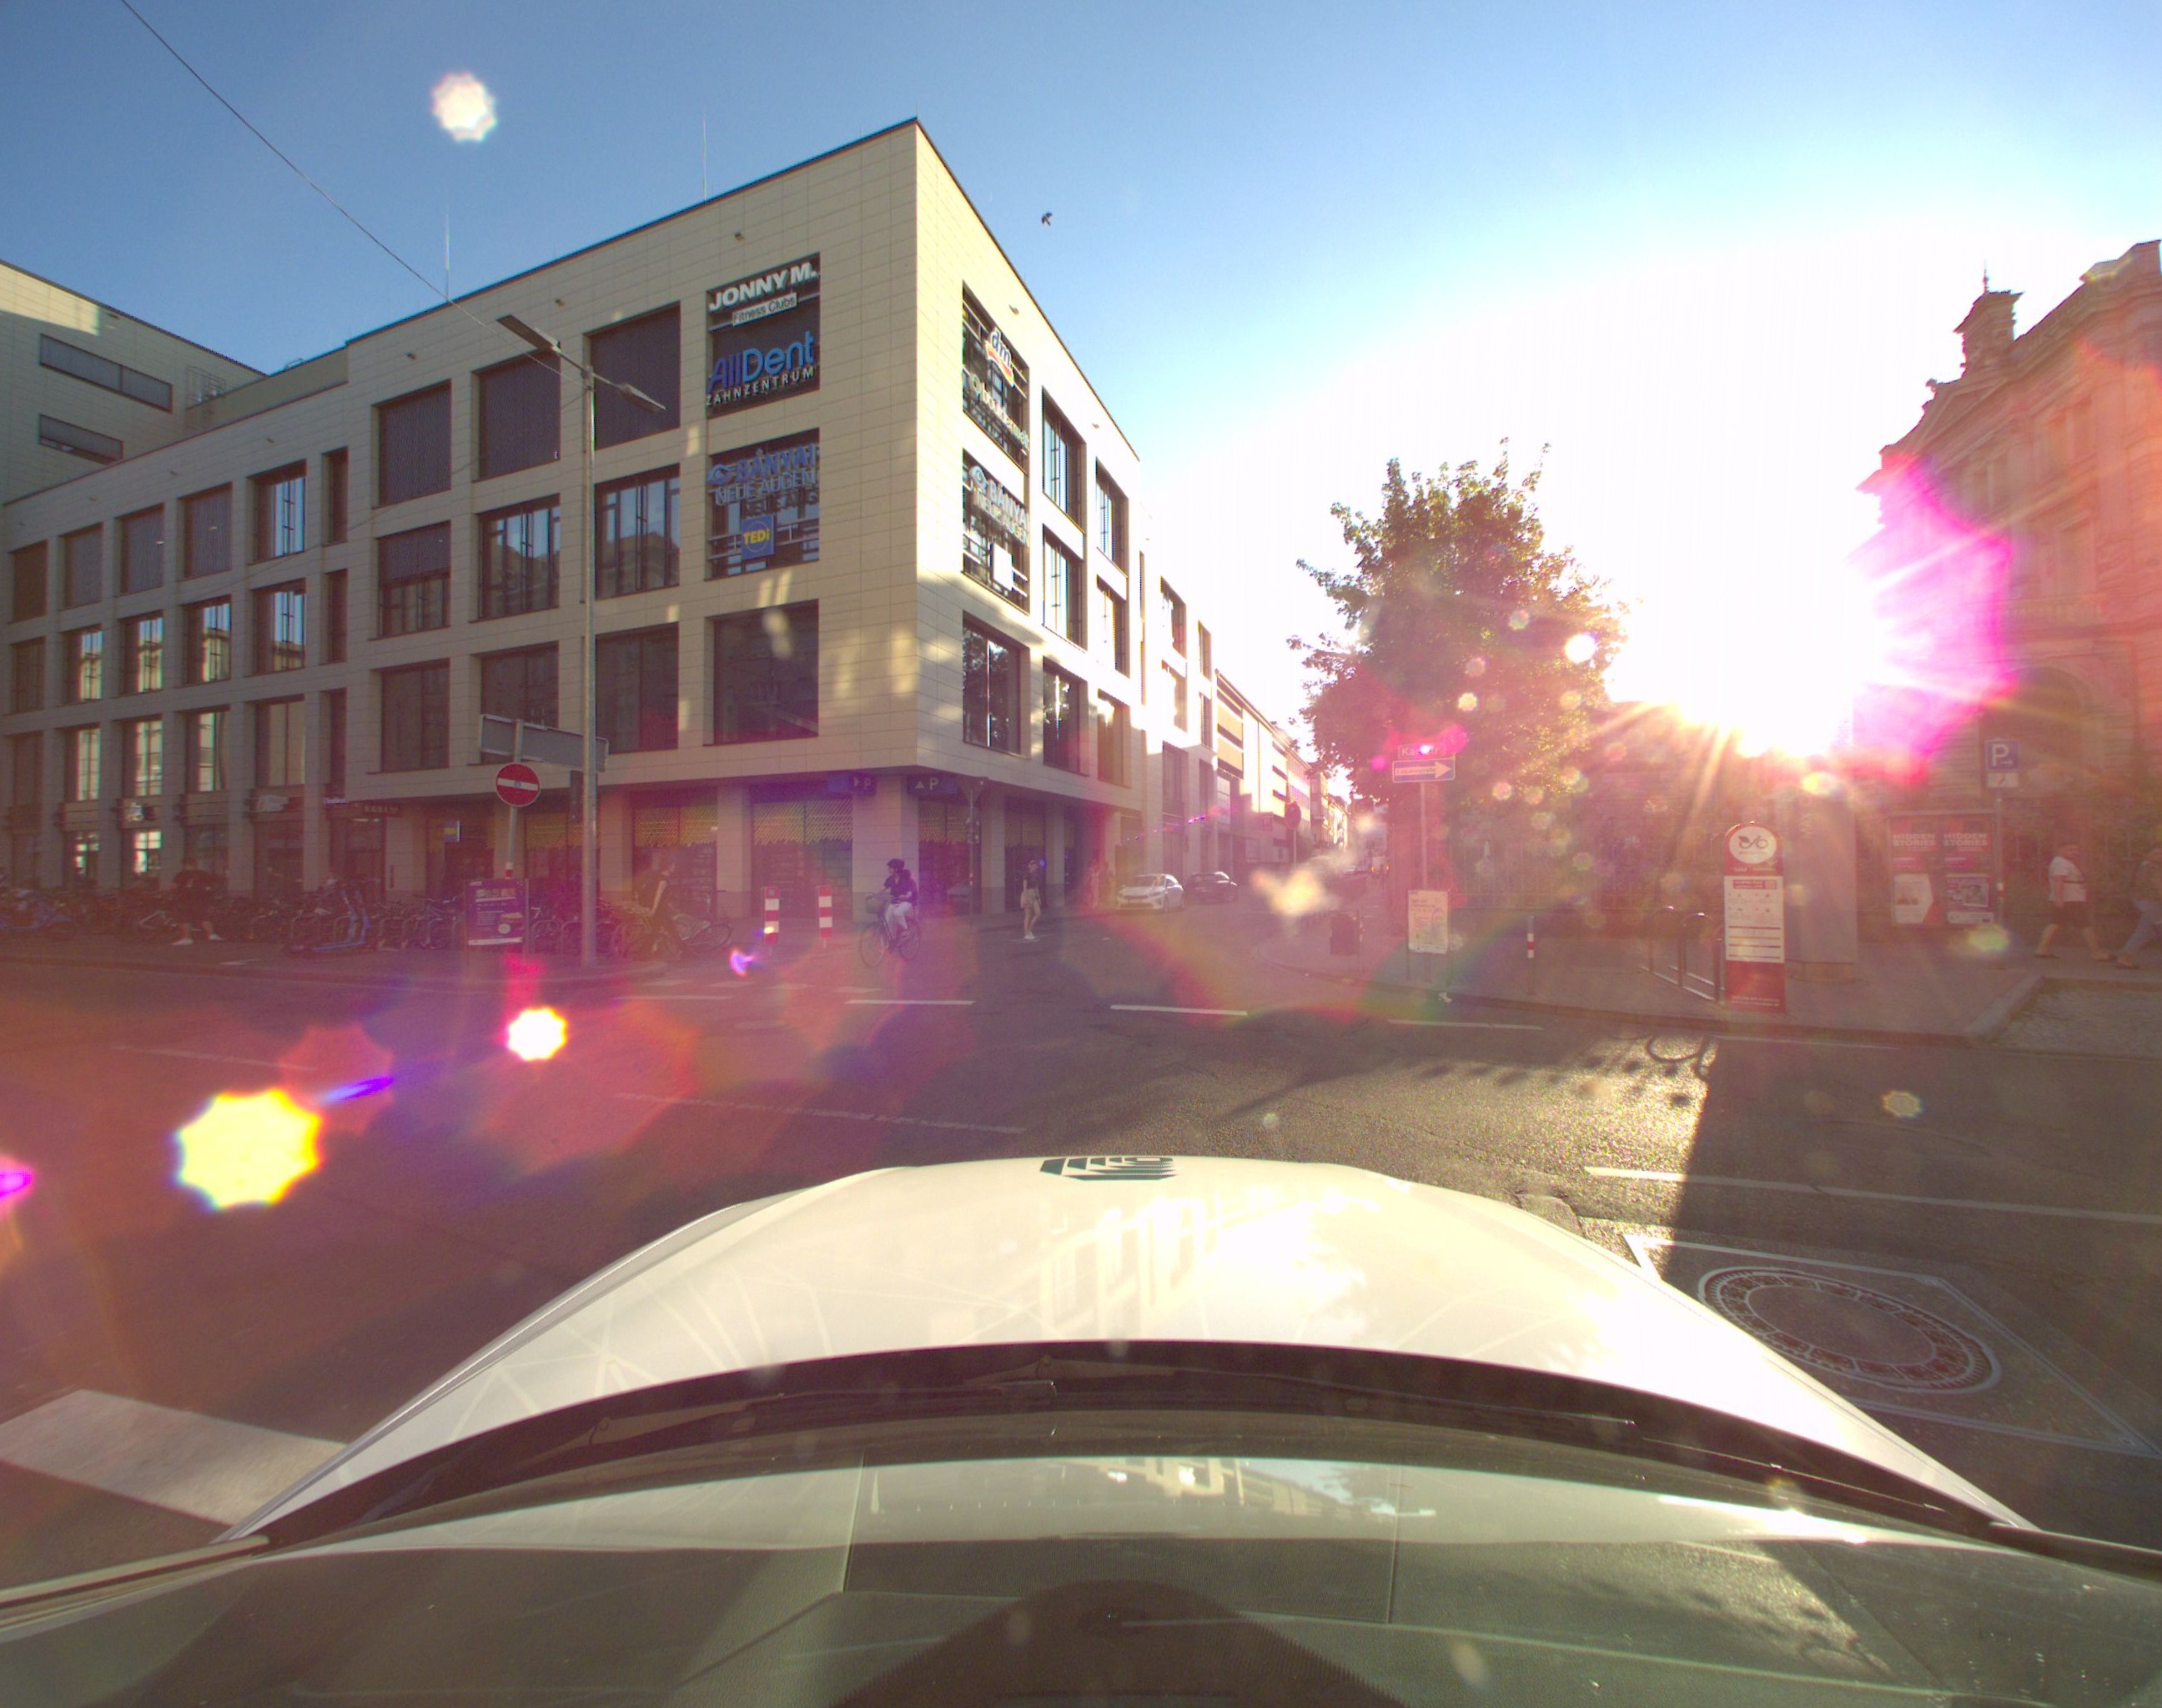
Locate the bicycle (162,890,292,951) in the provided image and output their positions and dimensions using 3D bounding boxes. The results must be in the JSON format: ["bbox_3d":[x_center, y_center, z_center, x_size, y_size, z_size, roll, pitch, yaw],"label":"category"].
[{"bbox_3d":[-19.383,1.477,18.550,0.507,1.255,1.988,-1,-2,20],"label":"bicycle"}]

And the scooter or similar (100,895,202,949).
[{"bbox_3d":[-18.610,1.346,16.324,0.383,0.992,1.277,-1,-2,20],"label":"scooter or similar"}]

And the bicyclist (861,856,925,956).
[{"bbox_3d":[-3.063,0.828,13.296,0.653,1.571,0.867,-1,-2,18],"label":"bicyclist"}]

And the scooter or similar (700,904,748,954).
[{"bbox_3d":[-6.645,1.385,15.186,0.383,0.884,0.774,-1,-2,20],"label":"scooter or similar"}]

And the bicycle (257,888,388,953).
[{"bbox_3d":[-16.041,1.374,17.302,0.507,1.255,1.988,-1,-2,20],"label":"bicycle"}]

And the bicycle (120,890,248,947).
[{"bbox_3d":[-21.457,1.509,19.545,0.507,1.255,1.988,-1,-2,20],"label":"bicycle"}]

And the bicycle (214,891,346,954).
[{"bbox_3d":[-17.316,1.449,17.686,0.507,1.255,1.988,-1,-2,20],"label":"bicycle"}]

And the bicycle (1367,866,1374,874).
[{"bbox_3d":[46.813,2.576,131.786,0.967,1.280,2.768,-1,-2,22],"label":"bicycle"}]

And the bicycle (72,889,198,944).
[{"bbox_3d":[-23.629,1.530,20.402,0.507,1.255,1.988,-1,-2,20],"label":"bicycle"}]

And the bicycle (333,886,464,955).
[{"bbox_3d":[-13.548,1.282,16.241,0.507,1.255,1.988,-1,-2,20],"label":"bicycle"}]

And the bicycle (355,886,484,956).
[{"bbox_3d":[-12.957,1.275,16.036,0.507,1.255,1.988,-1,-2,18],"label":"bicycle"}]

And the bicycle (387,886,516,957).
[{"bbox_3d":[-12.159,1.261,15.810,0.507,1.255,1.988,-1,-2,20],"label":"bicycle"}]

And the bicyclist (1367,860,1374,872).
[{"bbox_3d":[46.786,1.995,131.746,0.981,1.869,0.712,-1,-2,23],"label":"bicyclist"}]

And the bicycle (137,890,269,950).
[{"bbox_3d":[-20.109,1.484,18.718,0.507,1.255,1.988,-1,-2,20],"label":"bicycle"}]

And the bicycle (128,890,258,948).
[{"bbox_3d":[-20.776,1.496,19.126,0.507,1.255,1.988,-1,-2,20],"label":"bicycle"}]

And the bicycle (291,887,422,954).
[{"bbox_3d":[-14.827,1.326,16.744,0.507,1.255,1.988,-1,-2,20],"label":"bicycle"}]

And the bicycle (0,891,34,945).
[{"bbox_3d":[-26.096,1.511,19.552,1.956,1.255,0.516,-1,-2,18],"label":"bicycle"}]

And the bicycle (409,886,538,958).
[{"bbox_3d":[-11.478,1.245,15.473,0.507,1.255,1.988,-1,-2,20],"label":"bicycle"}]

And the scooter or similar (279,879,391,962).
[{"bbox_3d":[-12.041,1.048,13.188,0.383,1.260,1.277,-1,-2,20],"label":"scooter or similar"}]

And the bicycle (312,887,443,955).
[{"bbox_3d":[-14.248,1.320,16.578,0.507,1.255,1.988,-1,-2,20],"label":"bicycle"}]

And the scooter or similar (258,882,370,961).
[{"bbox_3d":[-12.582,1.078,13.393,0.383,1.212,1.277,-1,-2,20],"label":"scooter or similar"}]

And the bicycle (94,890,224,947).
[{"bbox_3d":[-22.178,1.514,19.651,0.507,1.255,1.988,-1,-2,20],"label":"bicycle"}]

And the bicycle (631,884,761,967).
[{"bbox_3d":[-6.356,1.140,13.616,0.658,1.255,2.150,-1,-2,18],"label":"bicycle"}]

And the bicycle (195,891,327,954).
[{"bbox_3d":[-17.917,1.455,17.860,0.507,1.255,1.988,-1,-2,20],"label":"bicycle"}]

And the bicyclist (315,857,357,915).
[{"bbox_3d":[-22.140,0.934,24.203,0.637,1.695,0.688,-1,-1,22],"label":"bicyclist"}]

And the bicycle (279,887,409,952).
[{"bbox_3d":[-15.399,1.337,17.091,0.507,1.255,1.988,-1,-2,20],"label":"bicycle"}]

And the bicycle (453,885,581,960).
[{"bbox_3d":[-10.304,1.205,14.978,0.507,1.255,1.988,-1,-2,20],"label":"bicycle"}]

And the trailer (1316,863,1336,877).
[{"bbox_3d":[28.052,1.896,93.266,1.977,1.557,4.020,-1,-2,20],"label":"trailer"}]

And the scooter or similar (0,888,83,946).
[{"bbox_3d":[-23.638,1.404,18.418,0.383,1.242,1.277,-1,-2,20],"label":"scooter or similar"}]

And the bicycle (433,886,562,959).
[{"bbox_3d":[-10.823,1.231,15.202,0.507,1.255,1.988,-1,-2,20],"label":"bicycle"}]

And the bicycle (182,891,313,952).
[{"bbox_3d":[-18.616,1.467,18.262,0.507,1.255,1.988,-1,-2,20],"label":"bicycle"}]

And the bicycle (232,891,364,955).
[{"bbox_3d":[-16.751,1.442,17.500,0.507,1.255,1.988,-1,-2,20],"label":"bicycle"}]

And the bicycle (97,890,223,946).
[{"bbox_3d":[-22.745,1.551,20.166,0.507,1.255,1.988,-1,-2,20],"label":"bicycle"}]

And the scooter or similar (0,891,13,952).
[{"bbox_3d":[-22.591,1.380,16.707,1.255,1.242,0.519,-1,-2,24],"label":"scooter or similar"}]

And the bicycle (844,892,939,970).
[{"bbox_3d":[-3.055,1.208,13.307,0.658,1.138,1.830,-1,-2,18],"label":"bicycle"}]

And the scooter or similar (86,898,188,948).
[{"bbox_3d":[-19.219,1.380,16.604,0.383,0.942,1.277,-1,-2,20],"label":"scooter or similar"}]
